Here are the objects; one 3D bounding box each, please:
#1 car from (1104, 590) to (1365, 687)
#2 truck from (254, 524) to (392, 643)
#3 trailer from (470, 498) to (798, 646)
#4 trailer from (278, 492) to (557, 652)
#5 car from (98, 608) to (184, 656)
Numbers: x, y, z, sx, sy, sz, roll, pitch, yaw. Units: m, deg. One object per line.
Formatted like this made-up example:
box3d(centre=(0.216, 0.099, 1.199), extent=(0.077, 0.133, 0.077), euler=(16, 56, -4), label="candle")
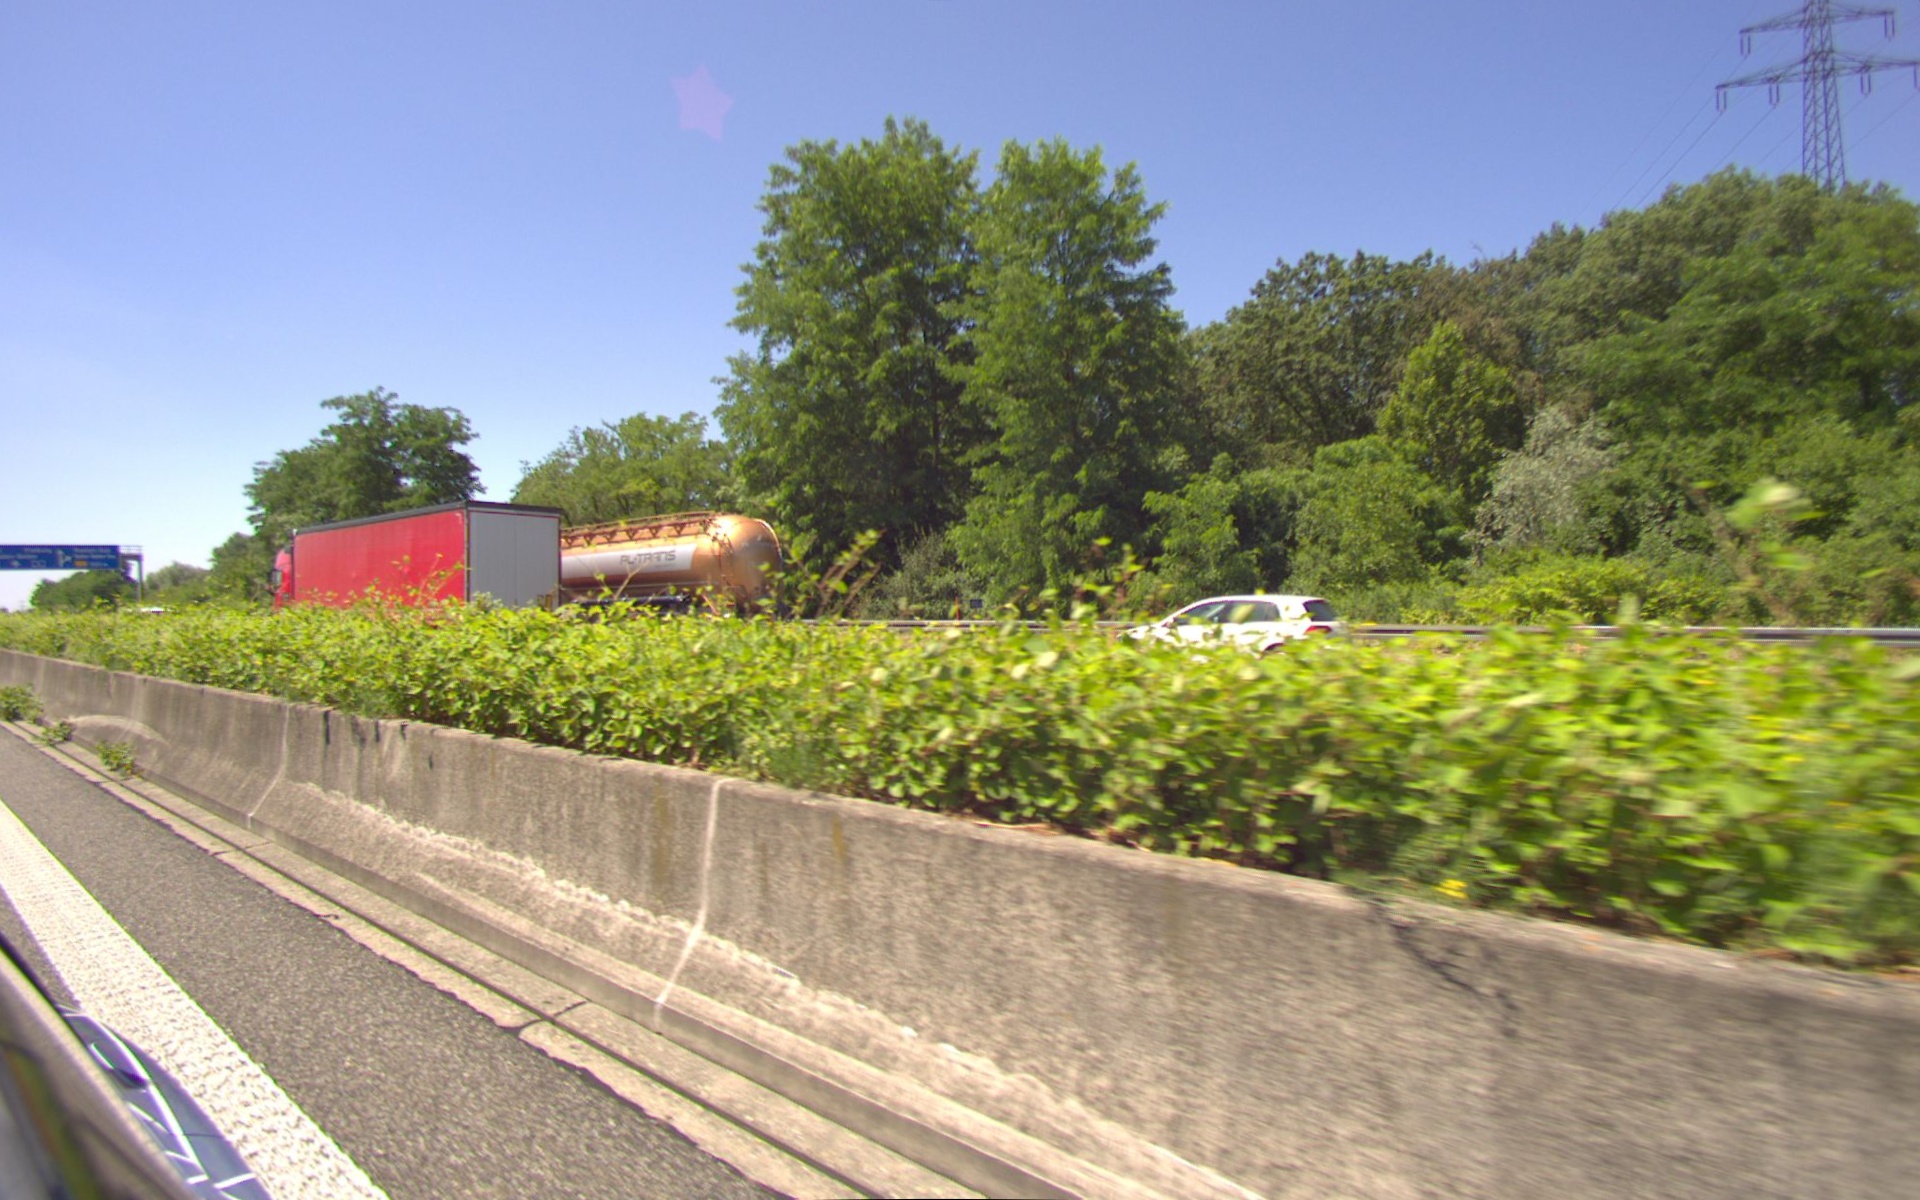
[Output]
box3d(centre=(4.645, 0.608, 17.424), extent=(3.997, 1.490, 1.703), euler=(-1, 0, 41), label="car")
box3d(centre=(-22.224, -0.505, 35.207), extent=(5.725, 3.817, 2.440), euler=(-1, 0, 40), label="truck")
box3d(centre=(-10.387, -0.597, 30.382), extent=(14.212, 3.623, 2.347), euler=(-1, 0, 41), label="trailer")
box3d(centre=(-16.952, -0.605, 30.663), extent=(14.391, 3.965, 2.440), euler=(-1, -1, 41), label="trailer")
box3d(centre=(-29.306, 1.122, 36.182), extent=(3.997, 1.613, 1.678), euler=(-1, 0, 40), label="car")
